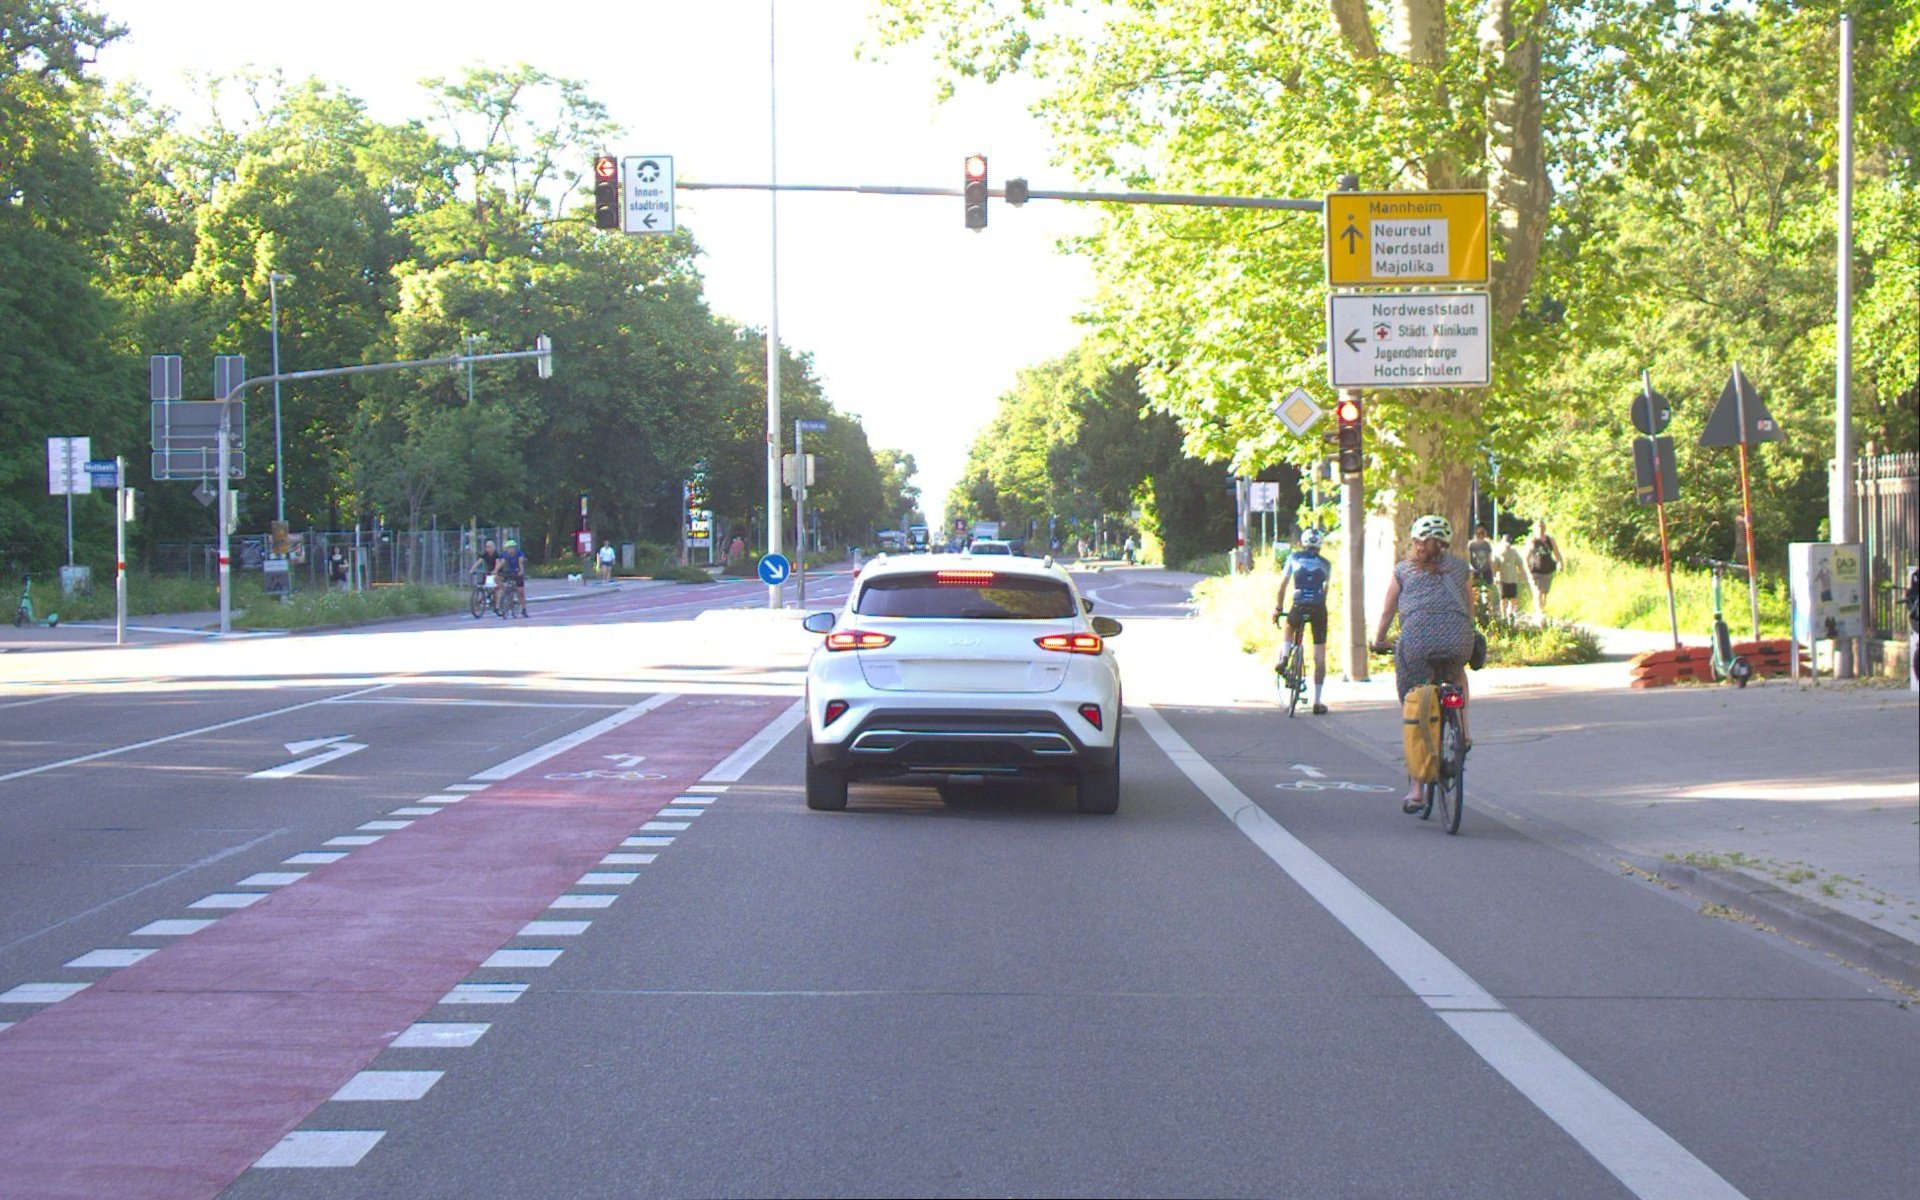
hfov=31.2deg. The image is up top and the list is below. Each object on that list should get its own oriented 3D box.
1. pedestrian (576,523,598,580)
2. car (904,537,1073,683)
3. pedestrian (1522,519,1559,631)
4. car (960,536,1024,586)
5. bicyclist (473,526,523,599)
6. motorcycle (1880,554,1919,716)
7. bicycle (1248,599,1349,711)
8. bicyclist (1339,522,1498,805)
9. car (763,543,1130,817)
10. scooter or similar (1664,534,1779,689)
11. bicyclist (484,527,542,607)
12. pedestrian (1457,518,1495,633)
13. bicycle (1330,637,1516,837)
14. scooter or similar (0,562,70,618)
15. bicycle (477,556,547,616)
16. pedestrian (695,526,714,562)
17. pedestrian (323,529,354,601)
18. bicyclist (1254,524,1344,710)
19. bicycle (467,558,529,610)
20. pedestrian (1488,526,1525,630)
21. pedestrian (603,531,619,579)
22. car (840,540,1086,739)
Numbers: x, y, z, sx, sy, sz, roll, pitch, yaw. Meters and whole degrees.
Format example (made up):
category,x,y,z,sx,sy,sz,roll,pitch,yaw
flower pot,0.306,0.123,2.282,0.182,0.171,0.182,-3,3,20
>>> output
category,x,y,z,sx,sy,sz,roll,pitch,yaw
pedestrian,-13.193,-1.715,121.534,0.656,2.007,0.832,-1,1,-2
car,0.301,0.077,40.408,1.851,1.586,4.000,-1,1,-1
pedestrian,9.471,-0.409,56.104,0.482,1.786,0.432,-4,4,6
car,1.051,-1.283,111.583,1.737,1.541,4.000,-1,2,5
bicyclist,-11.025,-0.903,82.026,0.955,1.699,1.232,-1,1,1
motorcycle,7.330,0.255,24.840,0.662,1.163,2.327,-3,1,-1
bicycle,3.203,0.505,32.684,0.753,1.022,1.869,0,0,-1
bicyclist,2.544,0.336,19.151,0.747,1.532,0.969,0,1,-1
car,-0.092,0.408,20.966,1.993,1.448,4.000,-1,1,-1
scooter or similar,6.988,0.084,31.615,0.566,1.378,1.856,-1,1,-2
bicyclist,-9.994,-0.737,76.901,1.092,1.748,1.097,-1,1,2
pedestrian,8.313,-0.399,55.397,0.482,1.786,0.432,-4,4,6
bicycle,2.549,0.736,19.116,0.753,1.022,1.869,0,0,-1
scooter or similar,-19.617,-0.211,72.944,0.511,1.140,1.699,-1,1,21
bicycle,-9.992,-0.324,76.793,1.102,1.250,2.779,-1,1,2
pedestrian,-15.202,-3.347,204.662,0.876,2.142,1.103,-1,1,9
pedestrian,-16.547,-0.939,91.569,0.651,1.881,0.662,-1,1,2
bicyclist,3.213,0.155,32.657,0.749,1.744,0.843,0,1,-1
bicycle,-11.005,-0.393,82.015,0.964,1.177,2.951,-1,1,2
pedestrian,8.850,-0.357,55.660,0.482,1.634,0.432,-4,4,6
pedestrian,-12.548,-1.613,123.682,0.519,1.699,0.528,-1,1,-4
car,0.003,0.282,29.458,1.929,1.528,4.000,-1,1,-1
